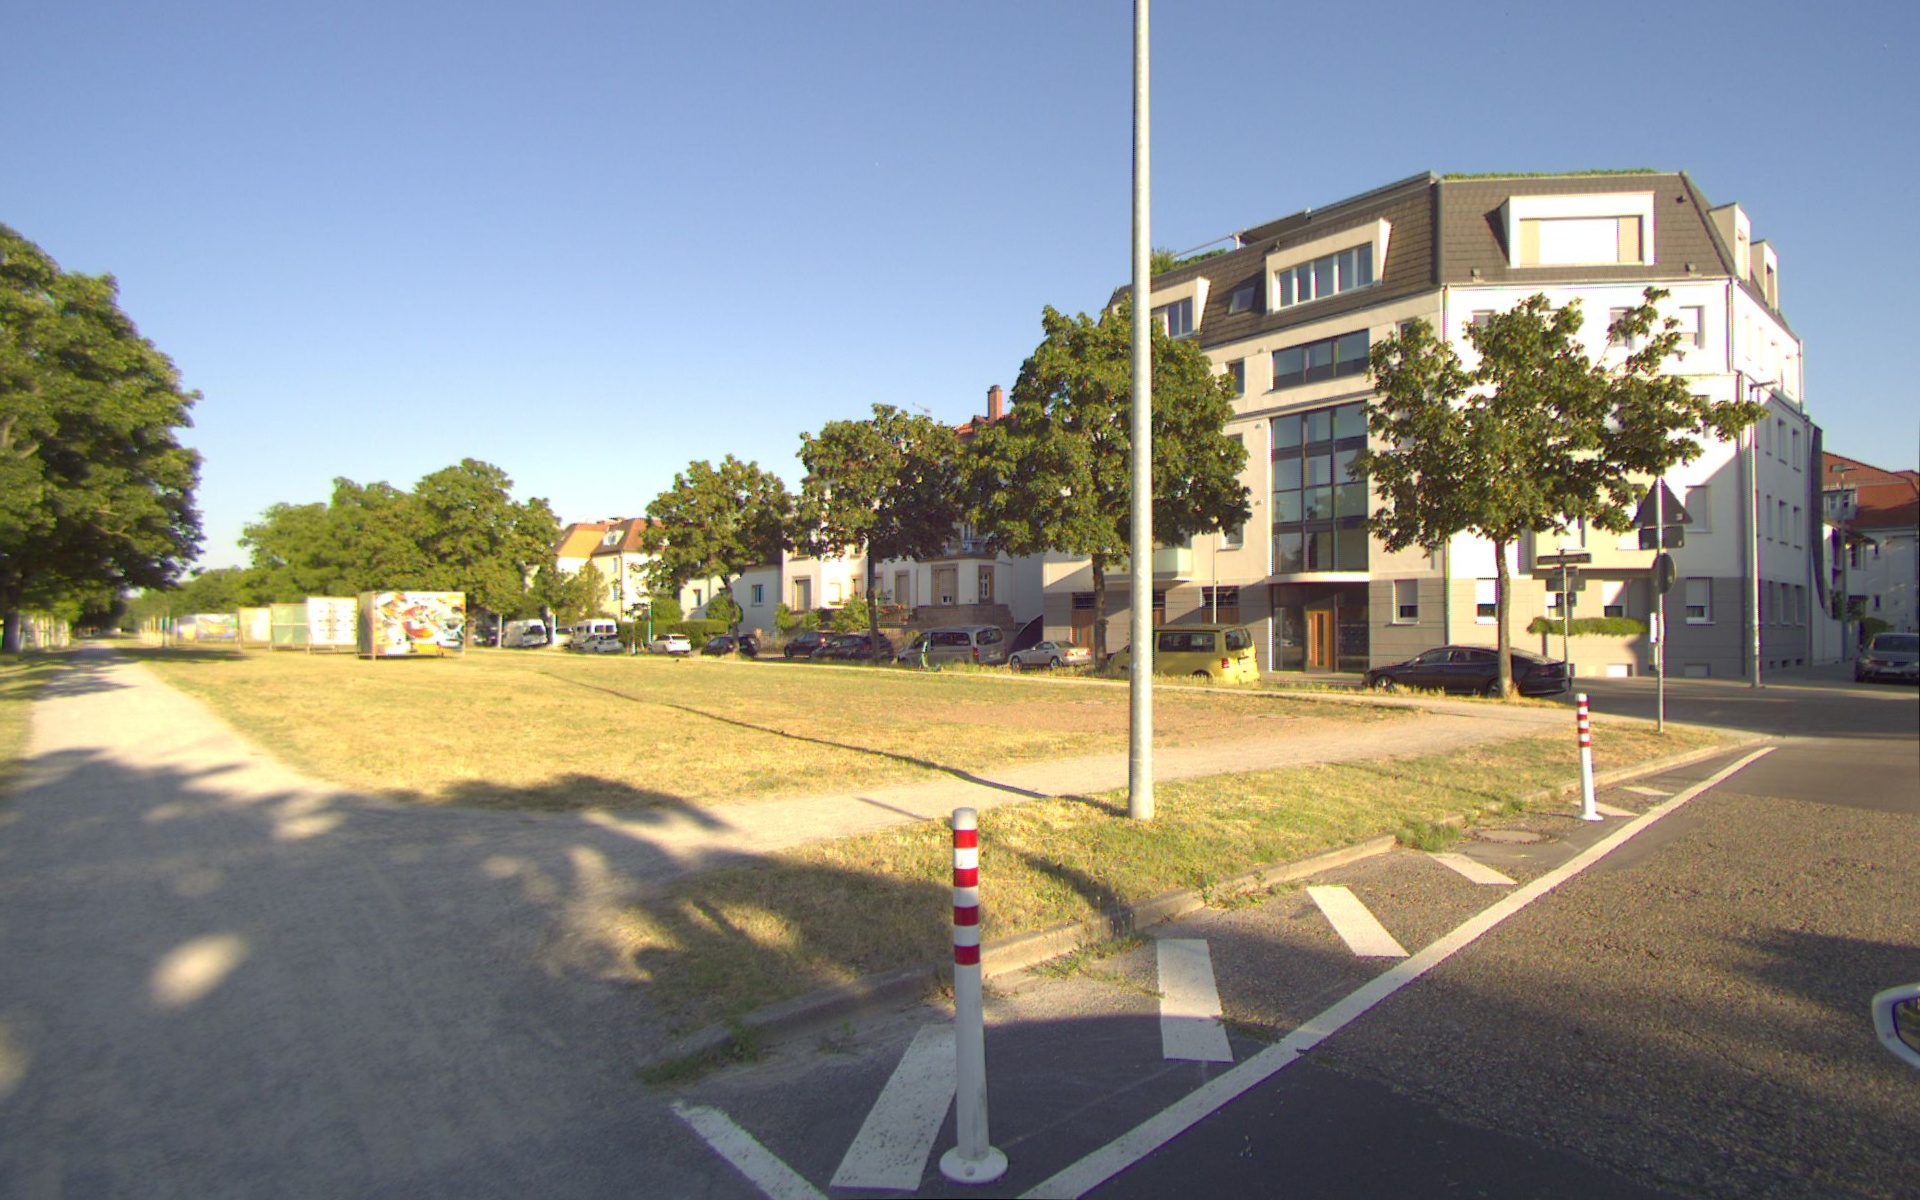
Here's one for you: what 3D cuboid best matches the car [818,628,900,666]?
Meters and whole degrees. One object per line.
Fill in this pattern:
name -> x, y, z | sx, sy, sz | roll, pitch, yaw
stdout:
car -> -4.514, 2.058, 44.678 | 1.812, 1.601, 3.791 | 2, -2, -41

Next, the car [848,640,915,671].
car -> -4.352, 3.041, 55.511 | 1.812, 1.601, 3.791 | 2, -2, -41

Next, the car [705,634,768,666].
car -> -12.166, 2.687, 54.611 | 1.812, 1.601, 3.791 | 2, -2, -41

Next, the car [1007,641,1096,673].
car -> 3.954, 2.471, 43.753 | 1.616, 1.256, 3.681 | 3, -3, -45

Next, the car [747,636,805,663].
car -> -11.695, 3.119, 63.624 | 1.812, 1.601, 4.113 | 2, -2, -41

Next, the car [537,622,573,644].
car -> -36.750, 3.002, 91.028 | 1.982, 1.971, 4.086 | 1, -2, -38

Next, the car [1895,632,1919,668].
car -> 40.043, 2.060, 41.515 | 4.112, 1.466, 1.742 | 2, -2, -43

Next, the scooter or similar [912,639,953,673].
scooter or similar -> -0.941, 1.875, 33.883 | 0.449, 1.130, 1.629 | 1, -2, -40

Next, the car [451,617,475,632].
car -> -59.157, 2.877, 119.480 | 1.832, 1.765, 3.853 | 1, -2, -38

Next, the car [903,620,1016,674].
car -> -0.072, 1.845, 40.060 | 2.064, 2.040, 4.520 | 2, -2, -41

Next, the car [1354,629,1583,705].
car -> 12.491, 1.573, 24.951 | 1.774, 1.691, 4.783 | 2, -2, -40

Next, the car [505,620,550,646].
car -> -34.173, 2.578, 79.383 | 2.209, 1.971, 4.460 | 1, -2, -38

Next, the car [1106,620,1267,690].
car -> 6.991, 1.661, 31.420 | 2.018, 2.040, 4.637 | 2, -2, -41

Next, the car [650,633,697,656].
car -> -20.818, 3.227, 72.945 | 1.812, 1.601, 3.921 | 2, -2, -41

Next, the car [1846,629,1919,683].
car -> 29.736, 1.755, 32.044 | 4.063, 1.612, 1.866 | 2, -2, -44

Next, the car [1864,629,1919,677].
car -> 33.668, 1.862, 35.811 | 4.063, 1.612, 1.866 | 2, -2, -44

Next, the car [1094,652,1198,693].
car -> 7.394, 2.846, 40.137 | 1.664, 1.482, 3.954 | 1, -2, -40

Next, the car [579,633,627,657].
car -> -24.153, 3.009, 67.862 | 1.812, 1.601, 3.791 | 2, -2, -41

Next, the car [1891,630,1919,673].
car -> 37.077, 1.953, 38.481 | 4.063, 1.612, 1.866 | 2, -2, -44

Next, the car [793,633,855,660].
car -> -7.862, 2.663, 58.042 | 1.630, 1.465, 3.960 | 3, -3, -41

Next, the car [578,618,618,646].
car -> -30.120, 2.676, 83.531 | 1.982, 2.243, 4.086 | 1, -2, -38
